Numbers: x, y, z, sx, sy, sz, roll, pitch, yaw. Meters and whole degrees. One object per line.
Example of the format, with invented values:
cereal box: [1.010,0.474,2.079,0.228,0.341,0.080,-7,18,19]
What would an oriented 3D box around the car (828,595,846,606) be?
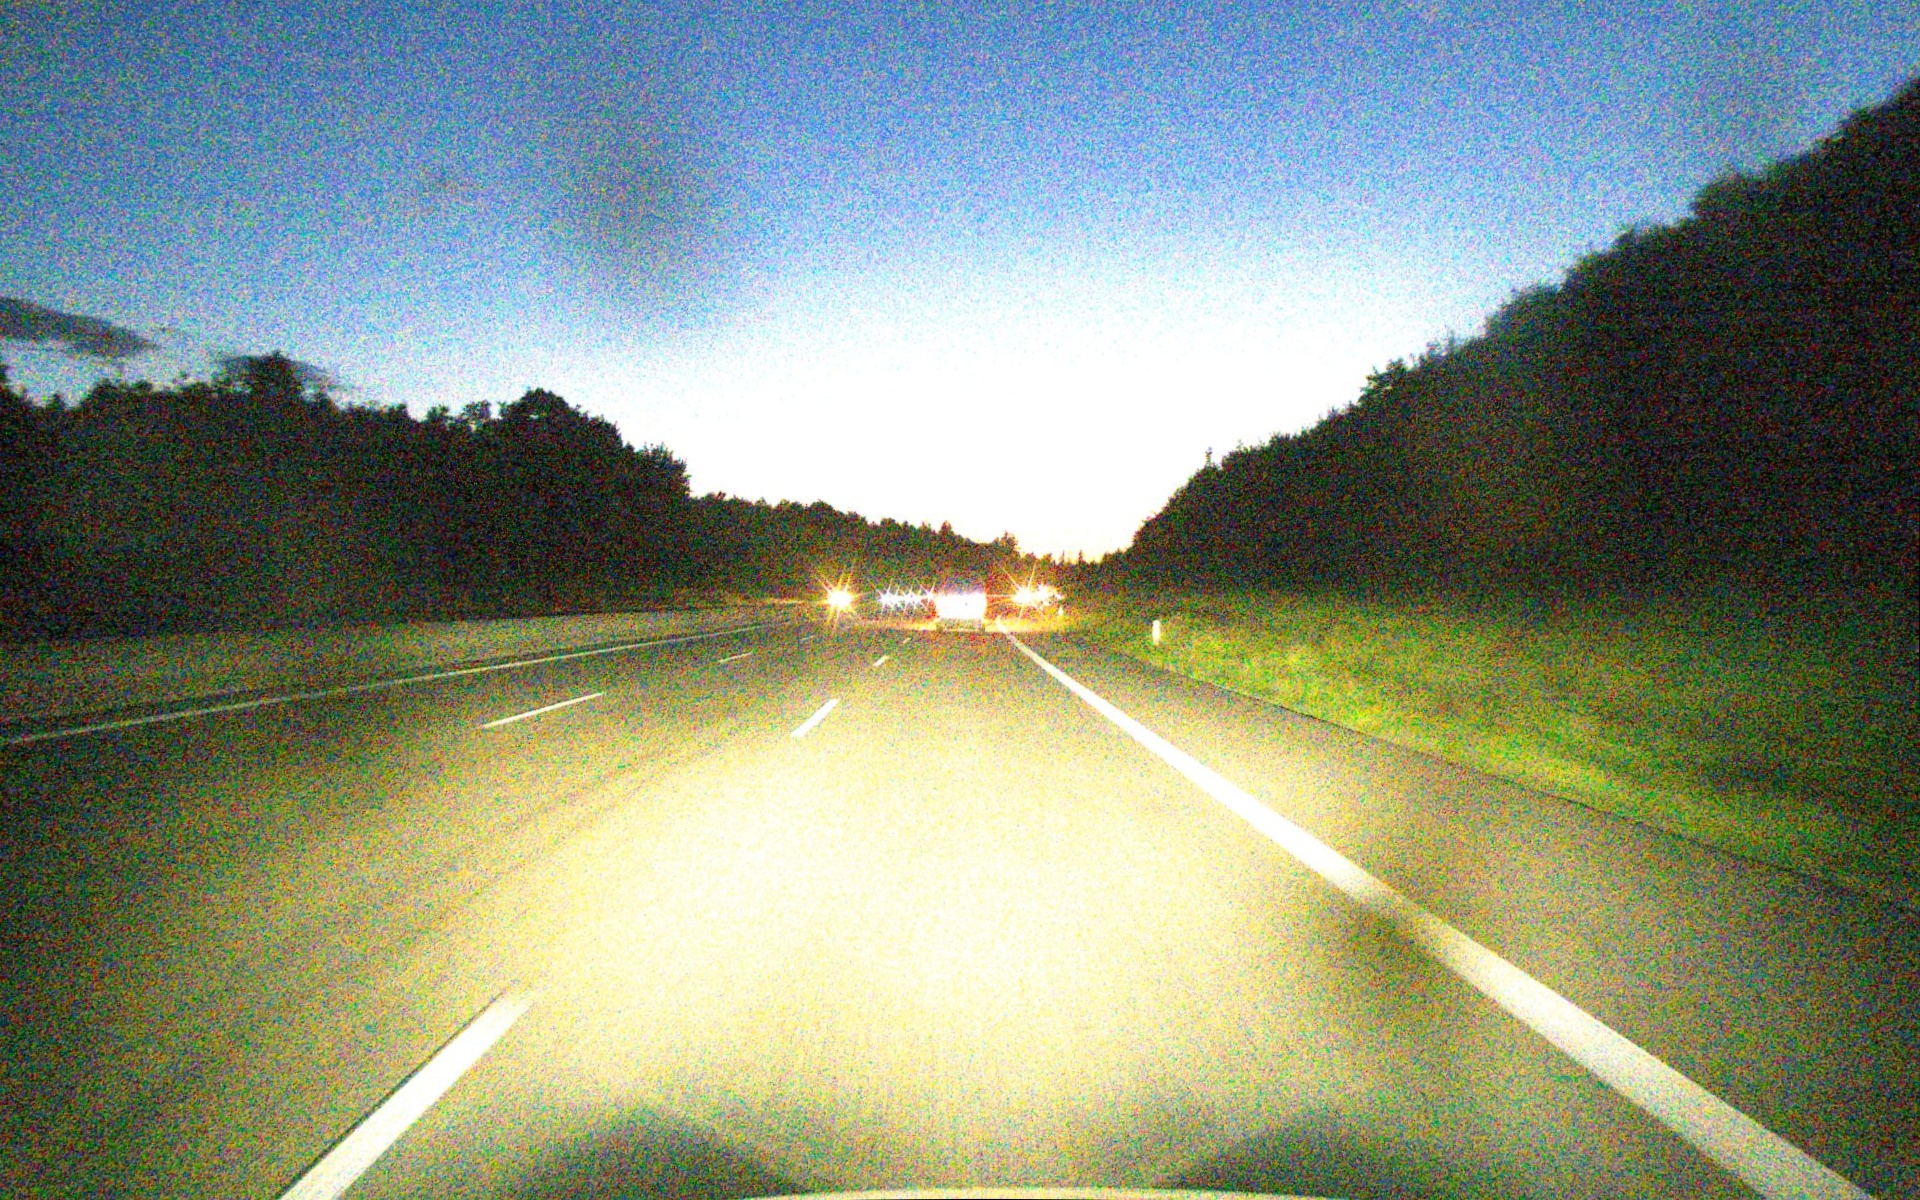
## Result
car: [-17.230,0.036,231.277,1.952,1.534,4.402,1,0,2]

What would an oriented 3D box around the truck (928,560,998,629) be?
truck: [0.029,-0.210,69.436,2.577,2.670,8.681,1,0,-2]
